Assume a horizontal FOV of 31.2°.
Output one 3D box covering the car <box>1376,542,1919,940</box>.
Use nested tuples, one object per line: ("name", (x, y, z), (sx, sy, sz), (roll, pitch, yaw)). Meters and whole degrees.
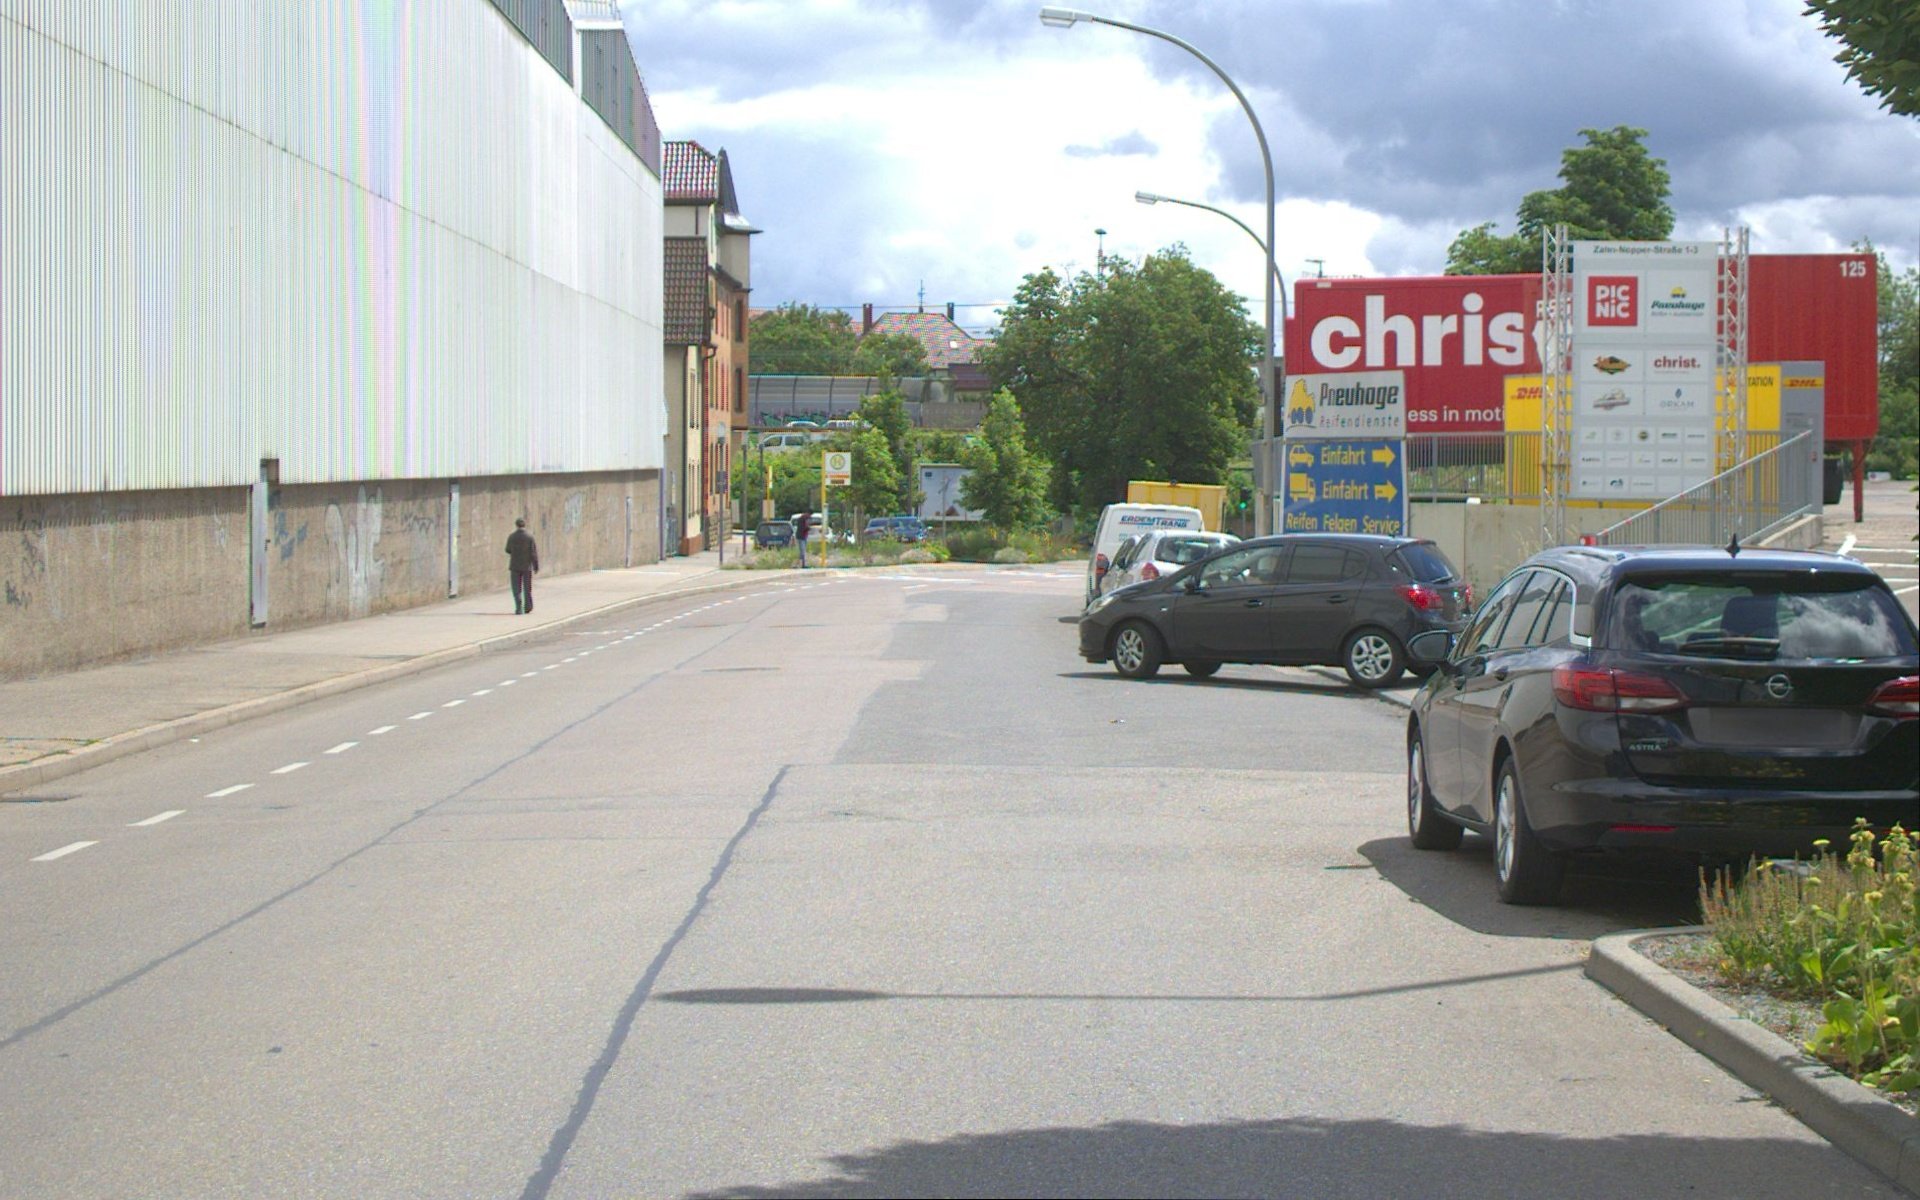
("car", (2.996, 0.495, 15.227), (1.714, 1.468, 4.511), (0, 1, 0))

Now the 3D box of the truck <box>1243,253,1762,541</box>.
("truck", (9.313, -3.384, 59.191), (8.459, 4.655, 2.580), (0, 0, 21))

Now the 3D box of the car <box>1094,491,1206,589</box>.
("car", (3.074, -1.001, 56.205), (1.701, 1.522, 3.738), (1, 1, 1))

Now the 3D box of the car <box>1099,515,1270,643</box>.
("car", (2.929, -0.308, 45.537), (1.701, 1.522, 3.739), (3, 2, -4))

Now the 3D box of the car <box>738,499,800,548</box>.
("car", (-6.219, -2.470, 112.206), (1.852, 1.481, 4.000), (0, 0, -1))

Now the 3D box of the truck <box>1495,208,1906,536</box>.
("truck", (11.117, -3.291, 52.520), (2.573, 4.434, 7.865), (0, 0, -17))

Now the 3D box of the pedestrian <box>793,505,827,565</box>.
("pedestrian", (-4.181, -1.822, 96.022), (0.853, 1.657, 0.860), (0, 0, 4))

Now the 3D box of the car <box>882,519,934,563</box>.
("car", (-1.868, -2.112, 123.773), (1.852, 1.481, 4.000), (0, 0, -1))

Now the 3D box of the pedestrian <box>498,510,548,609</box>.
("pedestrian", (-7.300, -0.668, 57.460), (0.713, 1.632, 0.777), (0, 0, 2))

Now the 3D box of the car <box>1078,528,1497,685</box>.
("car", (3.252, 0.028, 34.177), (3.787, 1.442, 1.704), (1, 2, 25))

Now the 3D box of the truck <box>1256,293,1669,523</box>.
("truck", (10.584, -3.976, 72.399), (8.454, 4.655, 2.581), (0, 0, 11))
